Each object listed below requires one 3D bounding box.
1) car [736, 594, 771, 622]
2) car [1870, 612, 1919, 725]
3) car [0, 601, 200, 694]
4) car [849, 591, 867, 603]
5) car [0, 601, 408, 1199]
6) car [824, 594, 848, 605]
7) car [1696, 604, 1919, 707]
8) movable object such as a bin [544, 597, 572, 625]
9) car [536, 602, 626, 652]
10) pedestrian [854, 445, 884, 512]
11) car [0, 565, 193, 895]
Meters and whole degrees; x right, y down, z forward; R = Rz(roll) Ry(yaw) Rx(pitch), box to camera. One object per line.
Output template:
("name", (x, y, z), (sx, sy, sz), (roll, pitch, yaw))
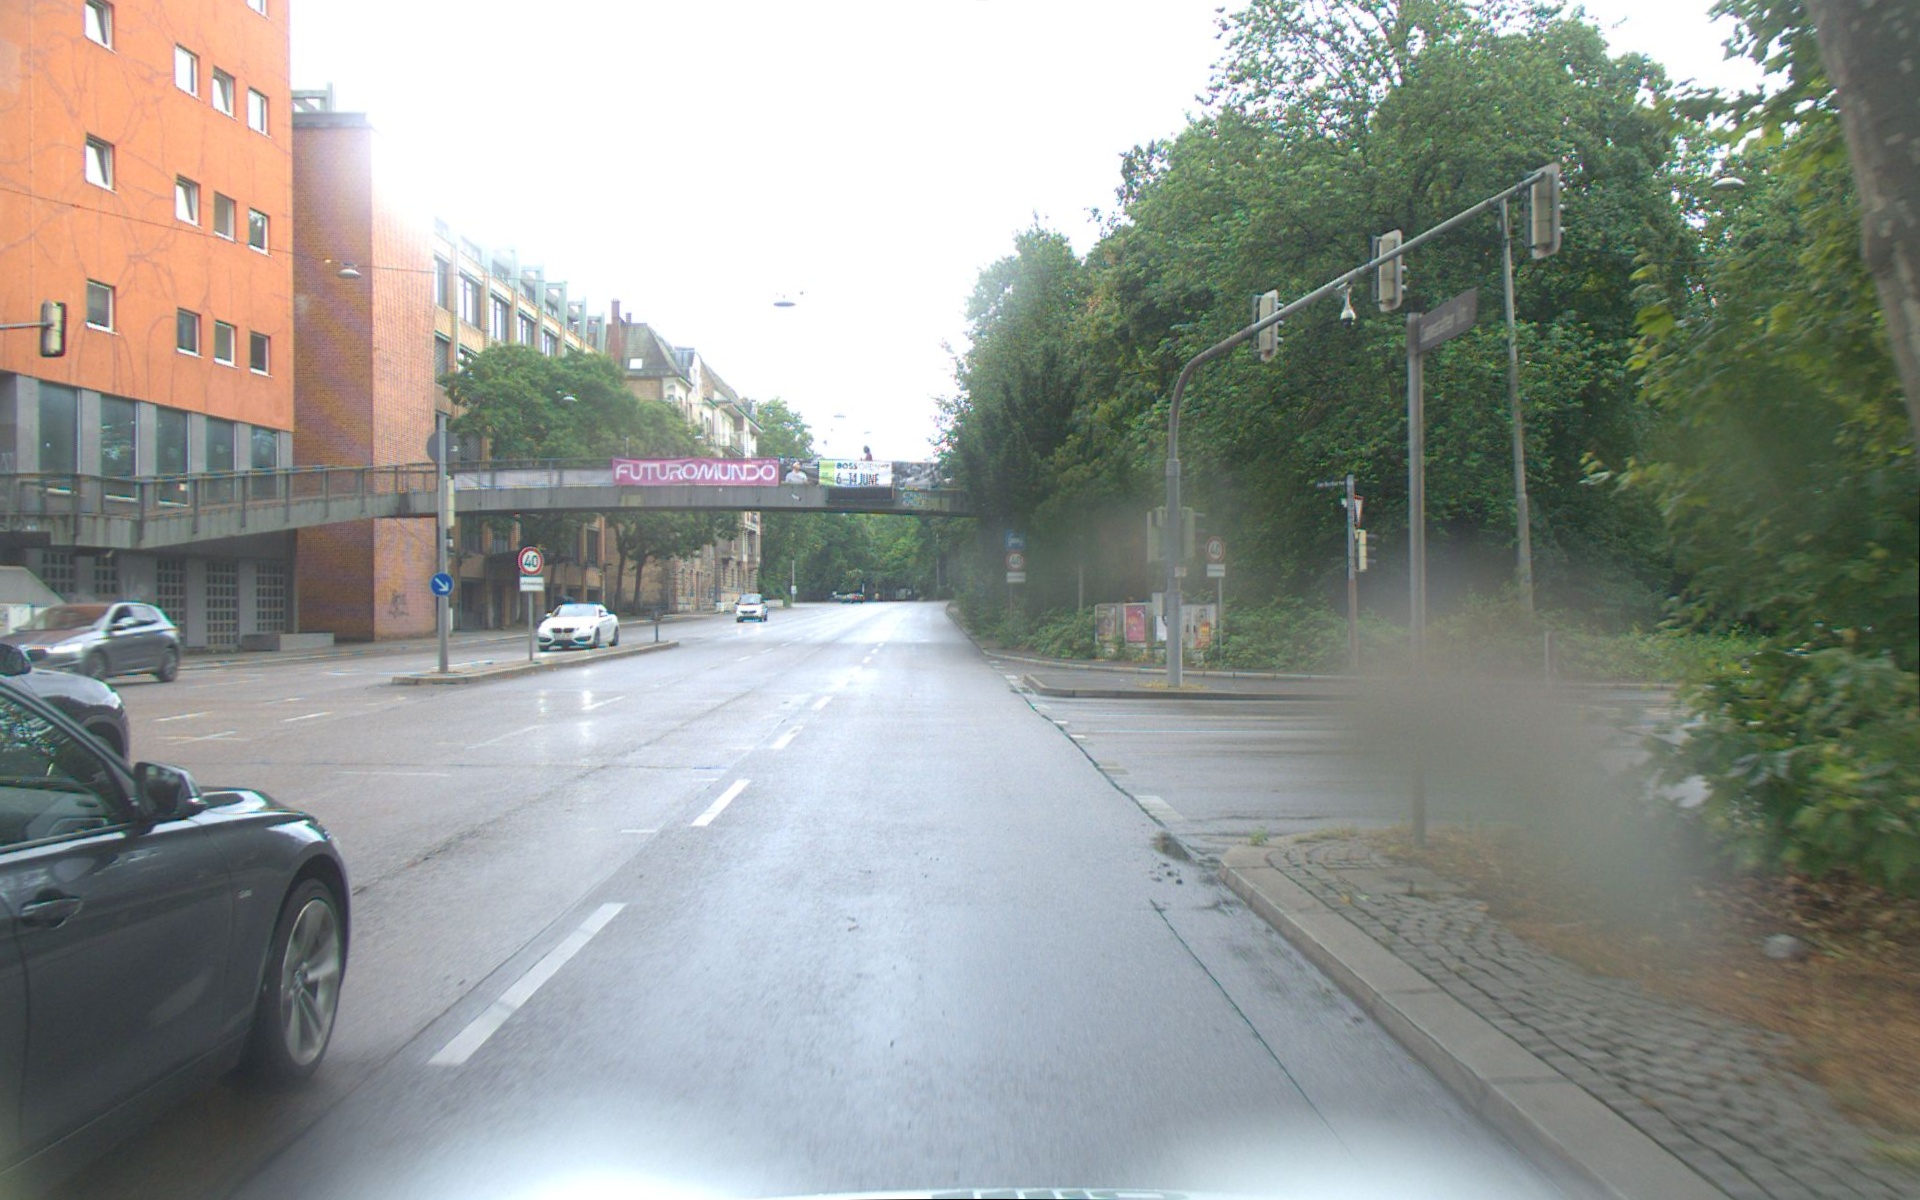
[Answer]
("car", (-11.753, 0.461, 94.404), (1.568, 1.525, 3.711), (-1, 0, -1))
("car", (14.733, 1.000, 22.503), (4.122, 1.486, 1.784), (2, -1, -18))
("car", (-14.958, 0.778, 28.632), (1.674, 1.490, 4.041), (0, 0, 1))
("car", (-14.558, -0.398, 236.753), (1.969, 1.672, 4.363), (0, 0, -12))
("car", (-2.724, 0.750, 3.354), (1.740, 1.483, 4.477), (0, 0, -1))
("car", (-19.298, -0.142, 257.856), (3.514, 1.574, 1.613), (2, 0, 0))
("car", (14.063, 0.883, 26.217), (4.134, 1.465, 1.940), (2, 0, -18))
("movable object such as a bin", (-22.274, 0.594, 91.729), (1.256, 1.545, 1.273), (0, 0, -1))
("car", (-11.554, 0.798, 50.673), (1.793, 1.418, 4.404), (-1, 0, -1))
("pedestrian", (-3.408, -4.549, 61.862), (0.936, 2.386, 1.005), (2, -1, -7))
("car", (-5.758, 0.629, 8.200), (1.772, 1.685, 4.444), (2, 0, 0))
